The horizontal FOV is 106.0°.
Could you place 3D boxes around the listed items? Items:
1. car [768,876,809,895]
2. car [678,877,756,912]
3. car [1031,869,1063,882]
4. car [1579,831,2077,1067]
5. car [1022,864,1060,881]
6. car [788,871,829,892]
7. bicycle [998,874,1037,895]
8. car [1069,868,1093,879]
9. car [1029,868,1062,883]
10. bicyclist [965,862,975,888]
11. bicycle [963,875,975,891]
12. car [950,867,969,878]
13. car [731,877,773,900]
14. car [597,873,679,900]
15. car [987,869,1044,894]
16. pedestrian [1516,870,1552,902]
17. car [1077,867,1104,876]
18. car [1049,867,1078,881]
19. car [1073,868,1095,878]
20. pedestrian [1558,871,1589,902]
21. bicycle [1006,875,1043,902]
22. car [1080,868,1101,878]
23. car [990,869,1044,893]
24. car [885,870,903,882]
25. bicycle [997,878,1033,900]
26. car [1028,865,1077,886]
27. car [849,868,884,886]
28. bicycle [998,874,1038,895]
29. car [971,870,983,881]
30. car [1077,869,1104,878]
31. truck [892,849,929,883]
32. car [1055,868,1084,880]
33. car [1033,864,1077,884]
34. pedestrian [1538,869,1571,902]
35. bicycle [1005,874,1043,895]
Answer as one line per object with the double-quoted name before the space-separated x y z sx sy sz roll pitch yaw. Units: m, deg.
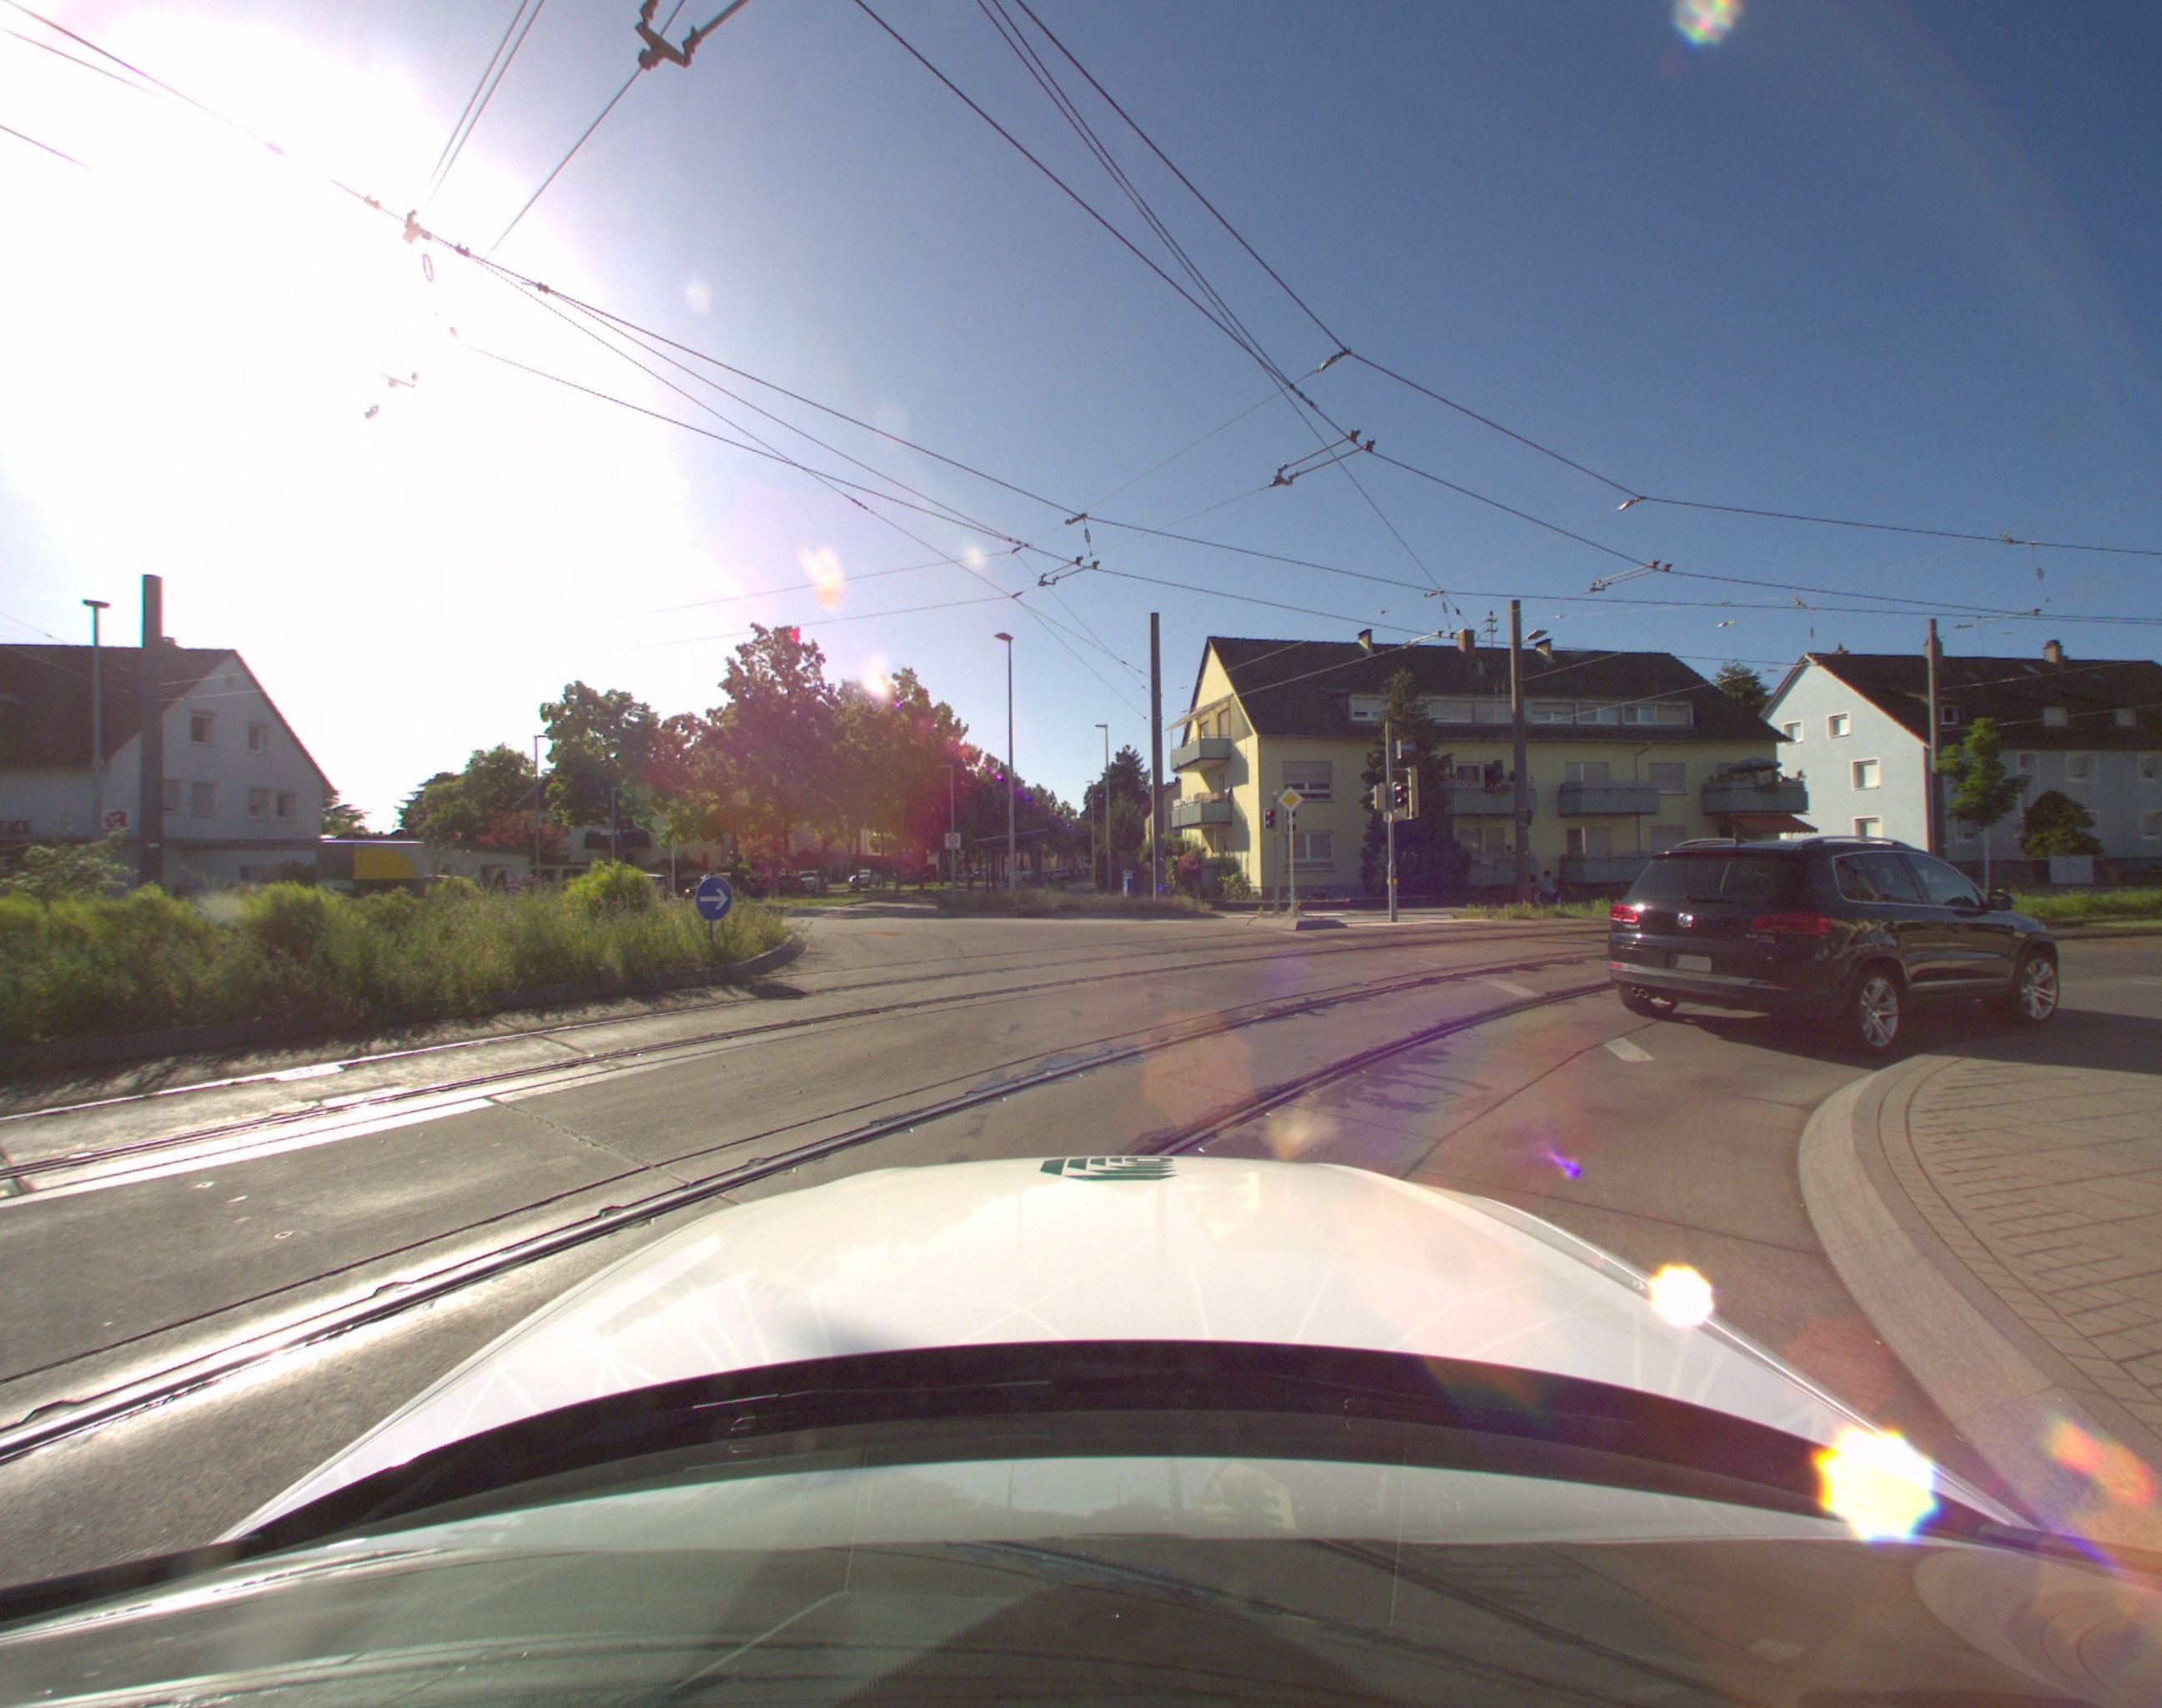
"car" -22.083 2.333 61.561 1.959 1.324 3.992 1 -1 -6
"car" -17.567 1.923 39.567 1.826 1.581 4.437 1 -1 -1
"car" -3.790 2.424 90.658 3.427 1.394 1.238 0 -1 2
"car" 6.849 0.636 7.462 4.262 1.670 1.804 -1 1 -24
"car" -3.757 1.696 76.390 3.506 1.533 1.576 1 -1 -1
"car" -22.140 2.214 66.374 1.988 1.700 4.214 1 -1 -2
"bicycle" -3.251 1.551 41.834 1.970 1.027 0.687 1 -1 -6
"car" -0.044 2.848 119.040 3.507 1.533 1.576 1 -1 -2
"car" -3.882 2.306 88.582 3.398 1.533 1.525 -1 -1 2
"bicyclist" -7.556 1.414 55.332 0.603 1.715 0.542 -1 -5 -9
"bicycle" -7.568 1.942 55.026 0.766 1.037 1.529 0 -2 -9
"car" -18.146 2.740 121.514 1.985 1.700 4.221 0 -1 3
"car" -22.308 2.313 55.375 1.799 1.464 3.789 1 -1 -9
"car" -27.981 2.042 51.512 4.025 1.694 1.999 0 -1 -1
"car" -4.194 1.778 52.476 3.506 1.533 1.576 1 -1 -1
"pedestrian" 14.979 1.056 26.936 0.686 1.046 0.817 0 -1 -11
"car" 1.261 2.344 109.155 3.507 1.279 1.576 1 -1 -2
"car" -2.032 2.309 94.803 3.350 1.533 1.521 1 -1 -2
"car" 0.422 3.048 129.690 3.507 1.533 1.576 1 -1 -2
"pedestrian" 16.489 1.080 27.272 0.597 1.006 0.717 1 -2 -32
"bicycle" -2.597 1.552 37.227 1.663 1.208 0.687 1 -1 -6
"car" 1.530 3.171 135.819 3.507 1.533 1.576 1 -1 -2
"car" -4.225 1.784 54.224 3.506 1.533 1.576 1 -1 -1
"car" -28.818 3.414 125.501 1.988 1.700 4.215 -1 -1 -2
"bicycle" -3.103 1.656 38.469 1.687 1.027 0.598 1 -1 -6
"car" -2.058 1.553 59.205 3.506 1.533 1.576 1 -1 -1
"car" -21.808 2.357 82.992 1.986 1.773 5.062 0 -1 2
"bicycle" -3.159 1.532 40.888 1.970 1.027 0.695 1 -1 -6
"car" -17.099 3.532 134.227 1.643 1.648 3.566 1 -1 -2
"car" 1.254 2.609 109.120 3.507 1.296 1.576 1 -1 -2
"truck" -20.955 1.465 100.665 3.061 3.993 8.002 1 -1 -2
"car" -1.416 2.447 99.577 3.470 1.493 1.551 1 -1 -2
"car" -2.067 1.601 65.066 3.506 1.533 1.576 1 -1 -1
"pedestrian" 15.807 1.052 27.182 0.630 1.065 0.810 2 -2 -41
"bicycle" -2.792 1.492 40.014 1.838 1.027 0.687 1 -1 -6
